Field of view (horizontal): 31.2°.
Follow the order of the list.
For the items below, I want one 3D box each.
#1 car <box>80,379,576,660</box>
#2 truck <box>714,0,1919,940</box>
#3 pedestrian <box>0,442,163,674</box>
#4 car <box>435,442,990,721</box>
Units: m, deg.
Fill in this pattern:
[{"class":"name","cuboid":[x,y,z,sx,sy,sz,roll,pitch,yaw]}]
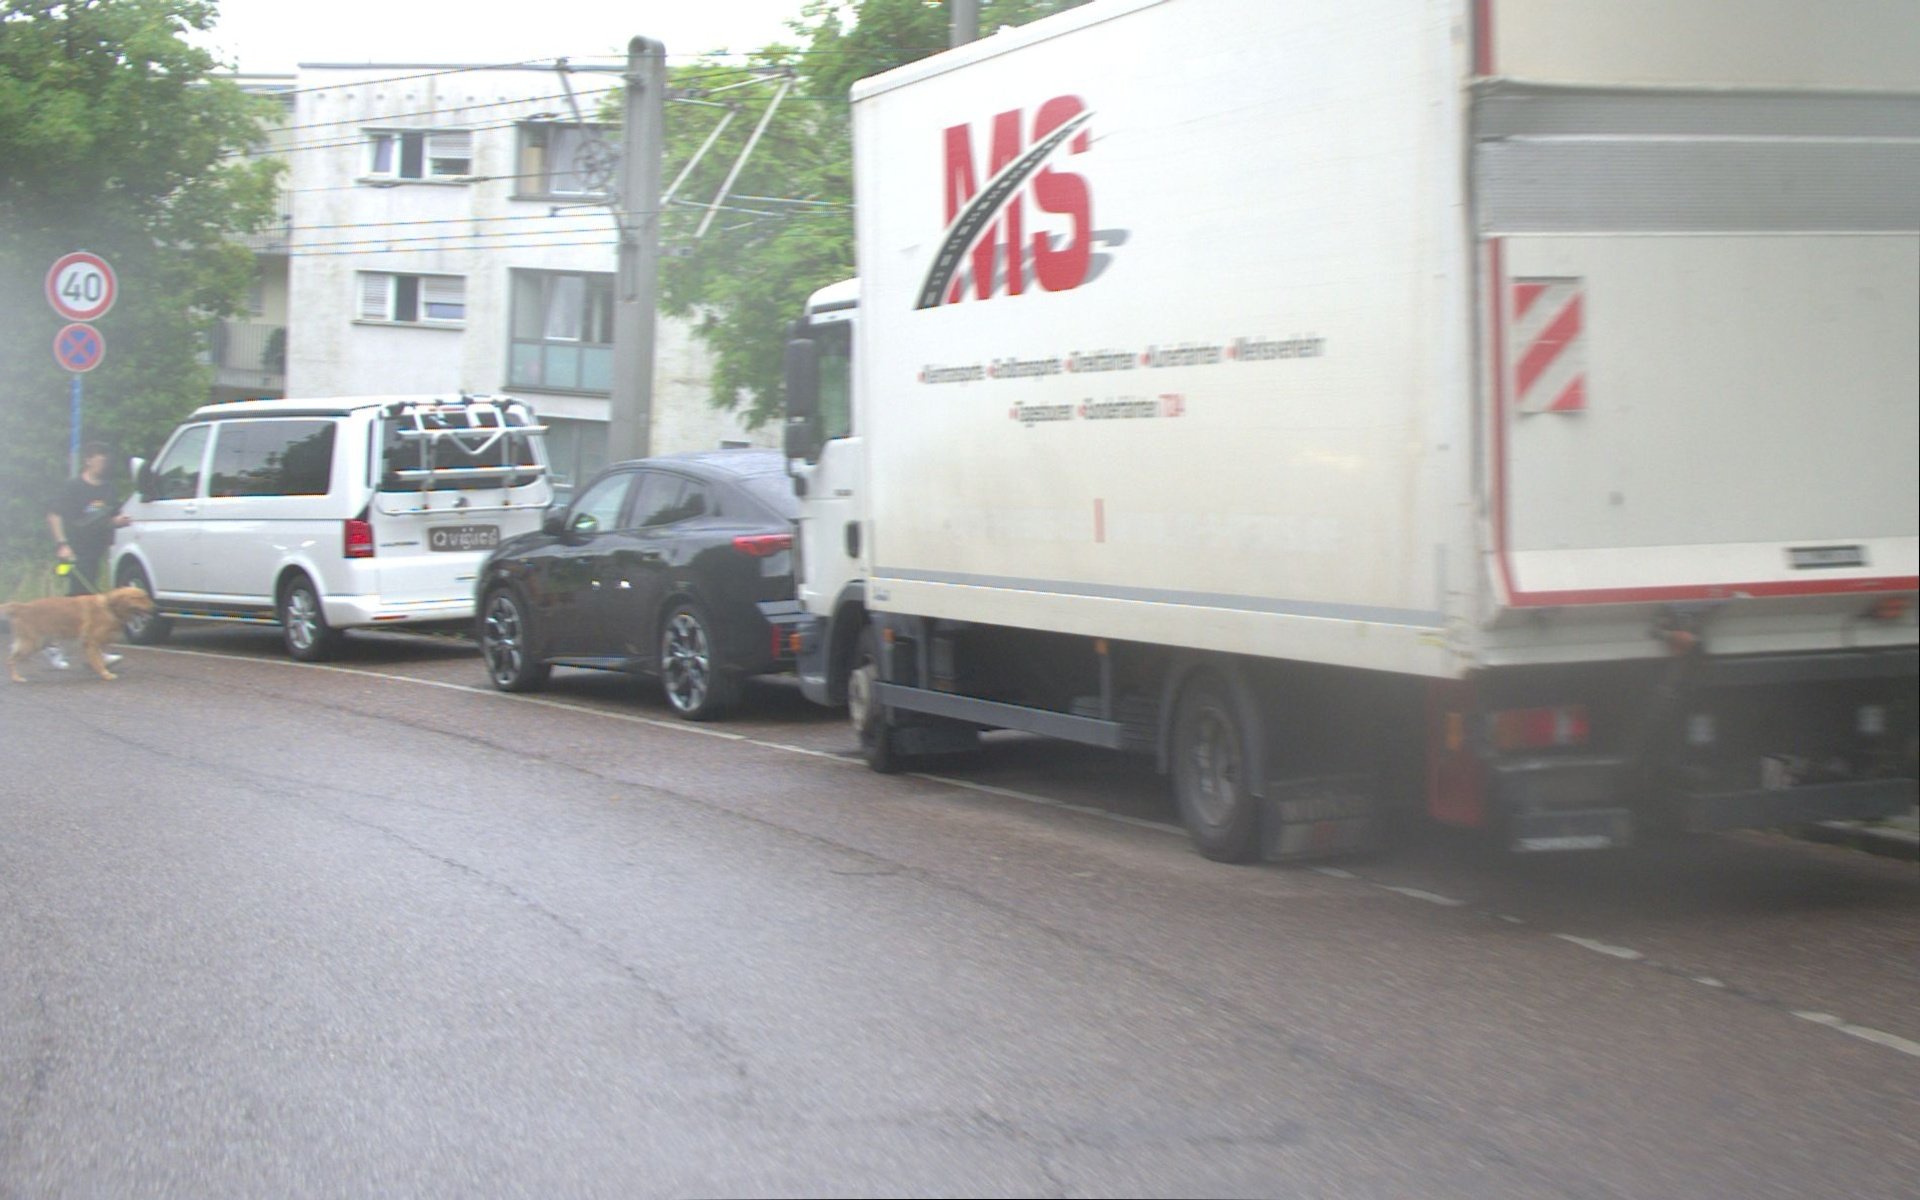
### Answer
[{"class":"car","cuboid":[-5.093,-0.692,27.212,1.877,2.006,4.690,-4,4,-37]},{"class":"truck","cuboid":[1.517,-0.865,15.121,3.006,3.561,8.339,-1,2,-20]},{"class":"pedestrian","cuboid":[-6.569,-0.322,25.502,0.923,1.655,0.804,0,5,25]},{"class":"car","cuboid":[-1.685,-0.197,21.921,1.718,1.550,4.277,-3,4,-31]}]
